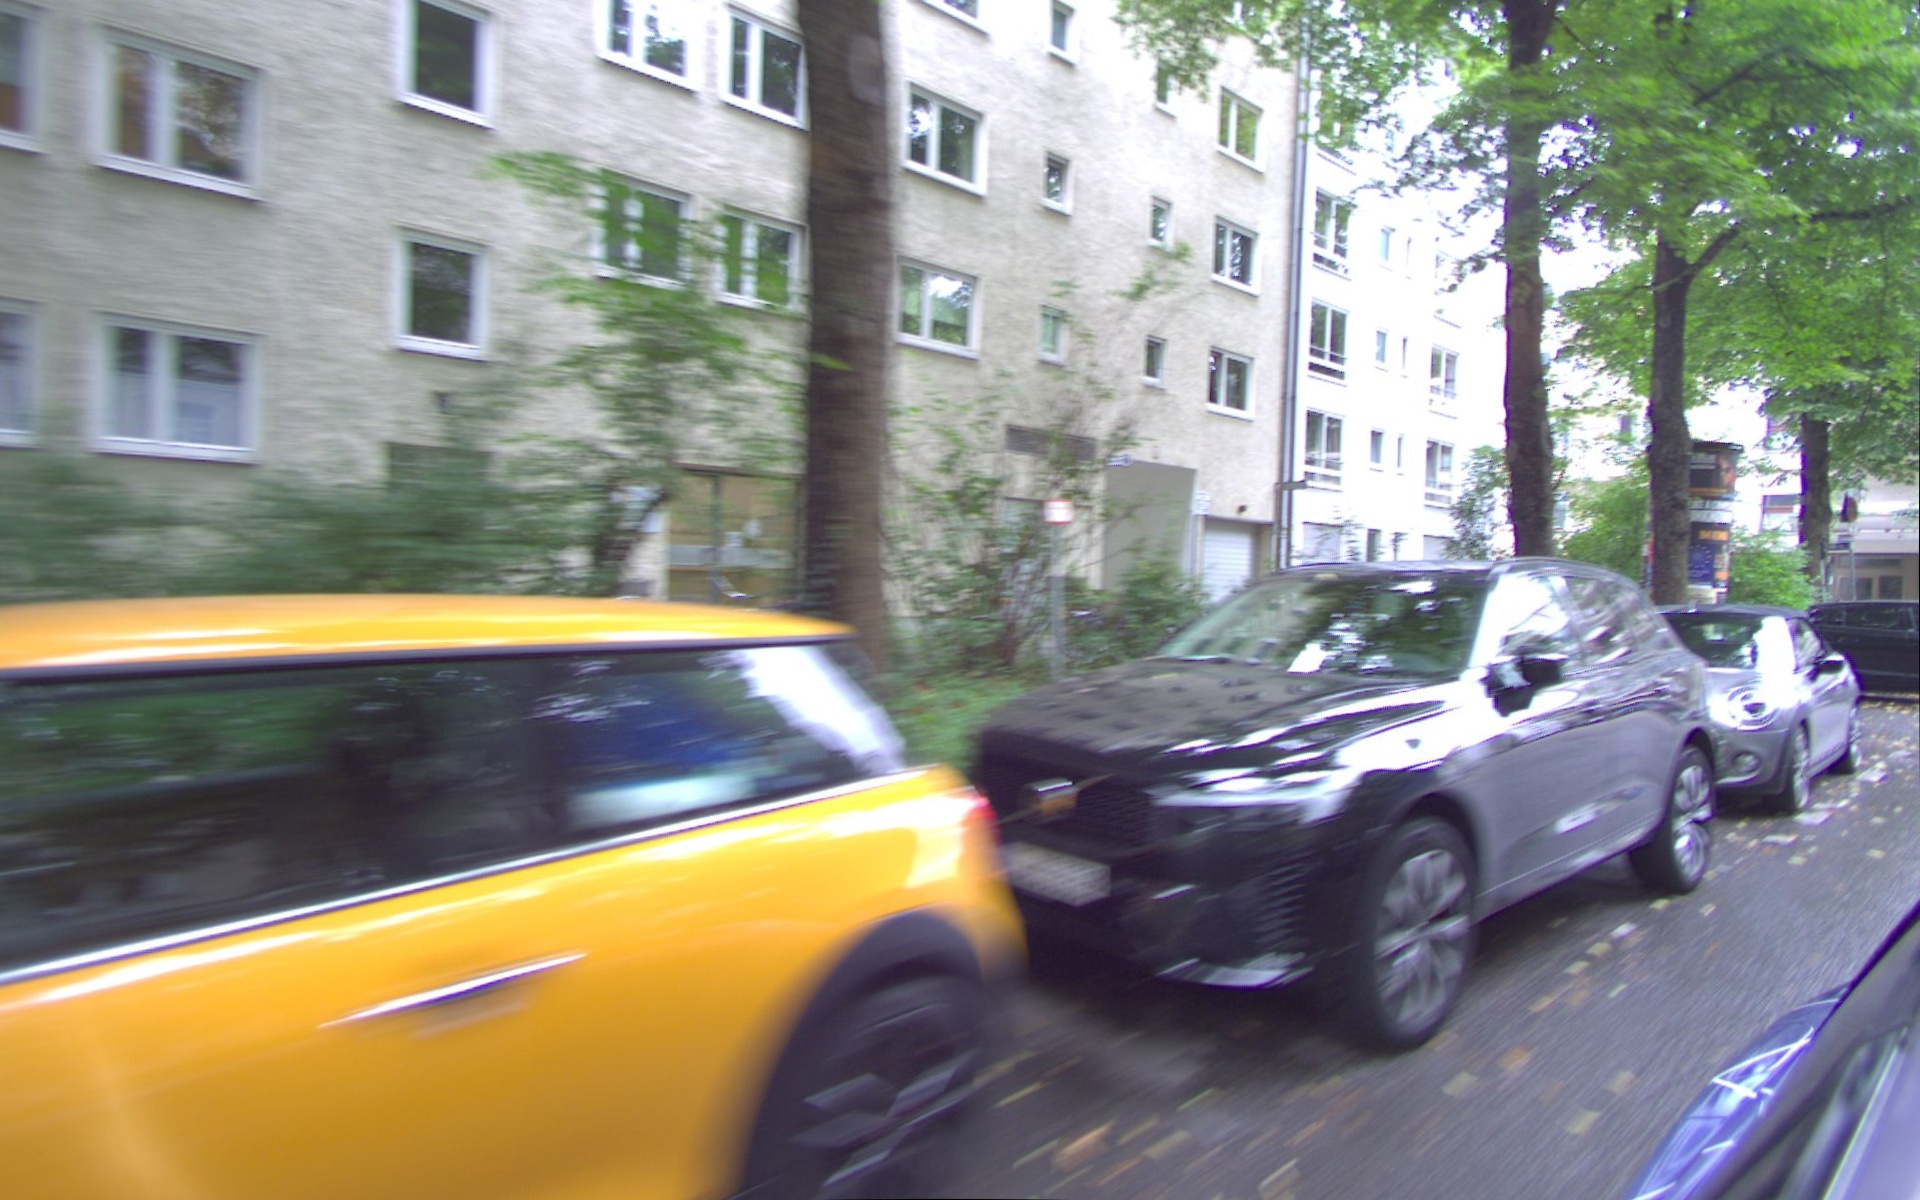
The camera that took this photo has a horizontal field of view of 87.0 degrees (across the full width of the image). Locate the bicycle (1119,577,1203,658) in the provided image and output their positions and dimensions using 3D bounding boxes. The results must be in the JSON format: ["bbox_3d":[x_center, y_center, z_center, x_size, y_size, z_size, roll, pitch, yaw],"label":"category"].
[{"bbox_3d":[3.048,0.242,15.222,0.443,1.138,1.746,2,2,40],"label":"bicycle"}]

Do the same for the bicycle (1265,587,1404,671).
[{"bbox_3d":[5.587,0.404,15.178,1.868,1.138,0.533,2,1,39],"label":"bicycle"}]

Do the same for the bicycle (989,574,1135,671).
[{"bbox_3d":[1.278,0.261,12.662,1.746,1.138,0.443,2,1,16],"label":"bicycle"}]

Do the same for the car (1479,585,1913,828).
[{"bbox_3d":[6.284,0.635,8.450,4.351,1.430,1.903,-1,4,-40],"label":"car"}]

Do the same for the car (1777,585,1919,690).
[{"bbox_3d":[14.321,0.565,14.237,1.703,1.411,4.094,0,2,-37],"label":"car"}]

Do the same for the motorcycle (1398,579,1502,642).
[{"bbox_3d":[10.203,0.188,21.106,1.802,1.212,0.680,3,2,44],"label":"motorcycle"}]

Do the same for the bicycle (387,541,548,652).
[{"bbox_3d":[-5.828,-0.052,12.034,1.646,1.239,0.450,0,2,-40],"label":"bicycle"}]

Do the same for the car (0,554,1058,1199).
[{"bbox_3d":[-1.682,0.638,1.774,3.716,1.430,1.620,0,2,-43],"label":"car"}]

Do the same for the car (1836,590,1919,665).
[{"bbox_3d":[19.906,0.597,19.232,1.927,1.394,4.725,0,2,-43],"label":"car"}]

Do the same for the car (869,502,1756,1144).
[{"bbox_3d":[1.942,0.545,4.720,4.444,1.649,1.836,0,2,-39],"label":"car"}]

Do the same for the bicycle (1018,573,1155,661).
[{"bbox_3d":[1.763,0.208,14.289,1.936,1.138,0.440,2,1,36],"label":"bicycle"}]

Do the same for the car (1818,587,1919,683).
[{"bbox_3d":[16.187,0.599,15.890,1.796,1.465,3.941,0,3,-42],"label":"car"}]

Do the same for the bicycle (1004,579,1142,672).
[{"bbox_3d":[1.497,0.318,13.426,1.746,1.138,0.443,2,1,16],"label":"bicycle"}]

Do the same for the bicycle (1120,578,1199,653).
[{"bbox_3d":[3.246,0.233,16.339,0.443,1.138,1.746,2,2,40],"label":"bicycle"}]

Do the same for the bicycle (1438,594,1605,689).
[{"bbox_3d":[7.733,0.548,14.027,1.843,1.178,0.763,2,2,14],"label":"bicycle"}]

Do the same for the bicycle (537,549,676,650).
[{"bbox_3d":[-4.573,-0.018,13.164,1.646,1.239,0.450,0,2,-40],"label":"bicycle"}]

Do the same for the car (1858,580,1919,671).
[{"bbox_3d":[18.116,0.504,17.216,1.724,1.574,3.982,0,2,-39],"label":"car"}]

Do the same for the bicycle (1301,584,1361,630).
[{"bbox_3d":[9.026,0.152,24.618,1.672,1.035,0.539,0,5,-40],"label":"bicycle"}]
